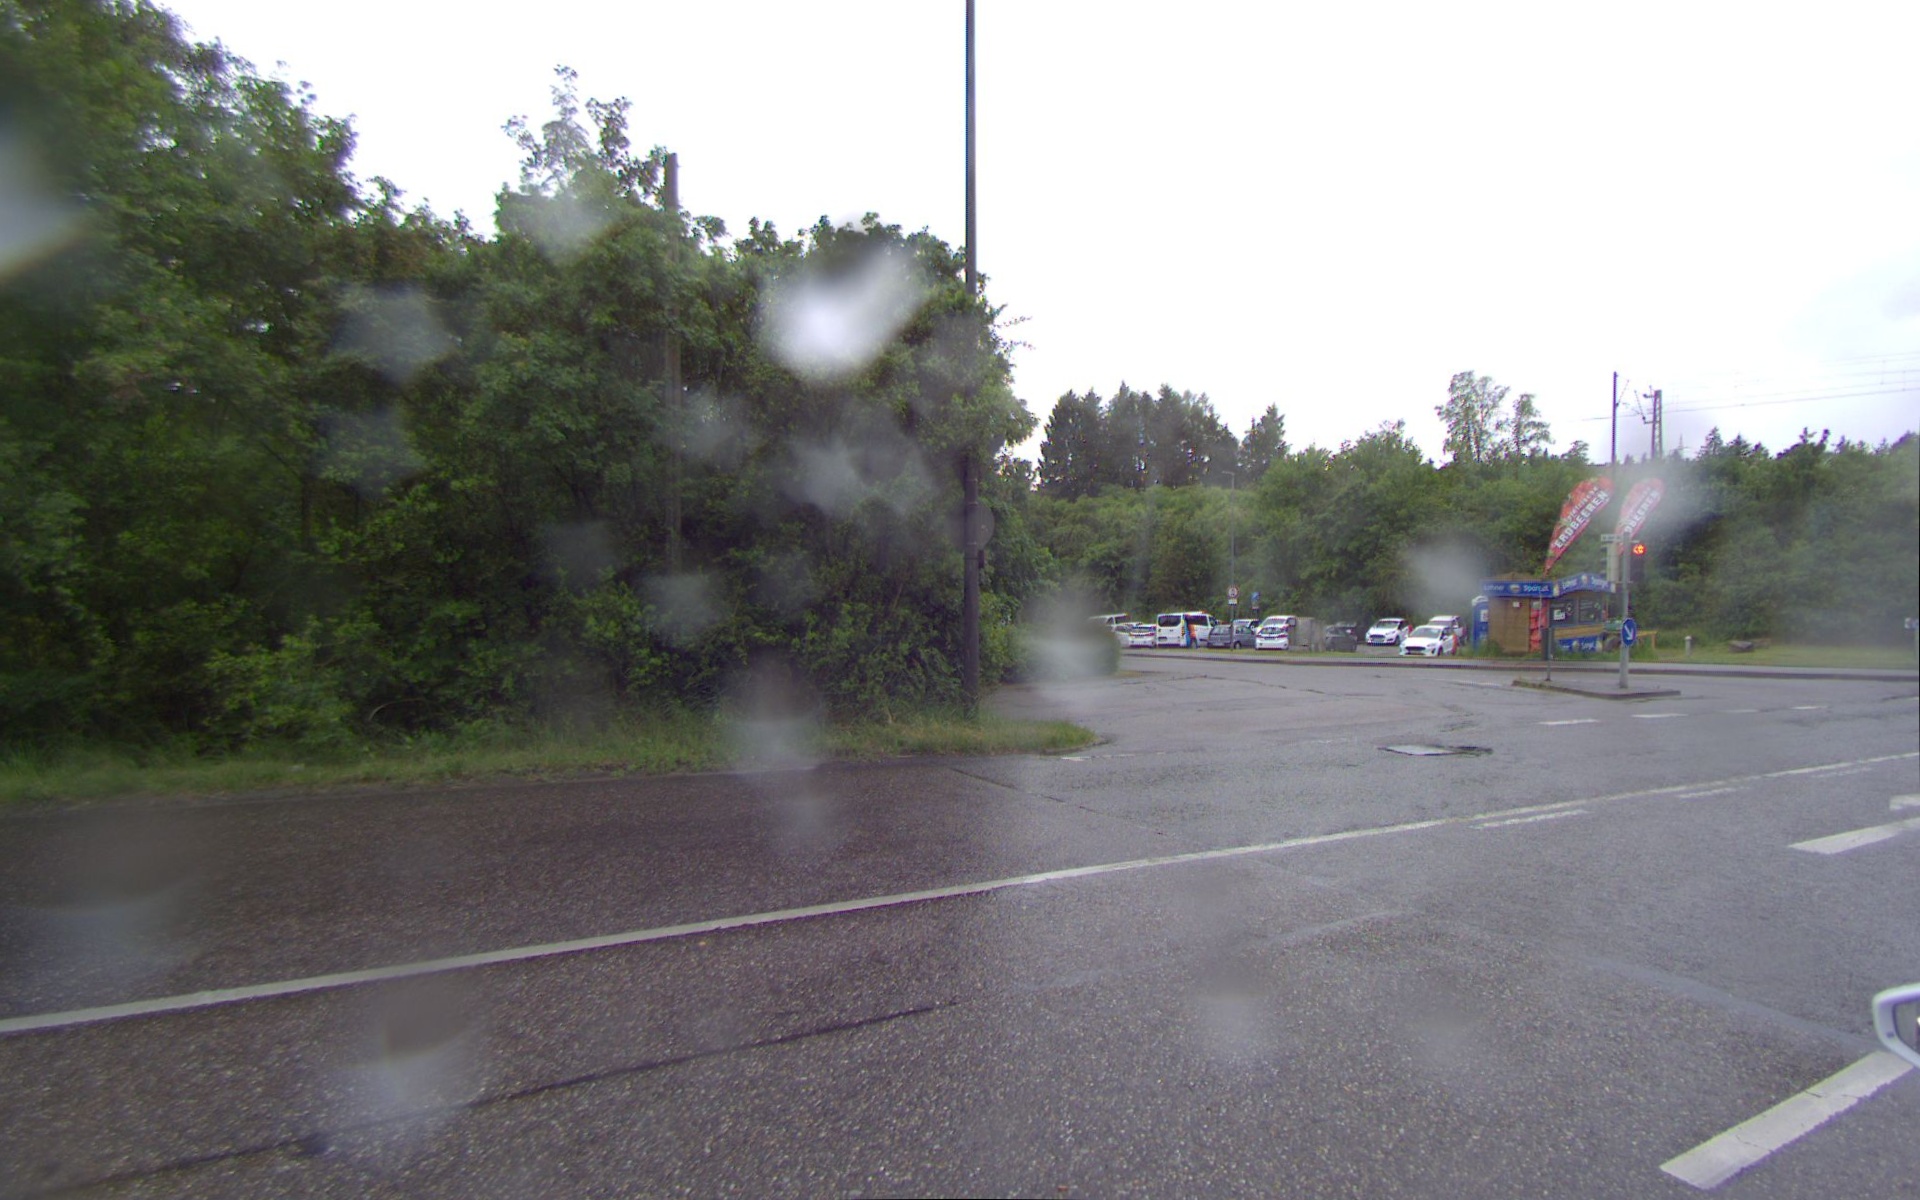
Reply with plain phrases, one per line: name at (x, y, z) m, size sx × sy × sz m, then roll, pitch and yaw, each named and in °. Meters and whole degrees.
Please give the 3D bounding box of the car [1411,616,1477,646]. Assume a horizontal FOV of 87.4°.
car at (26.366, 1.682, 54.686) m, size 3.972 × 1.606 × 1.975 m, roll 2°, pitch -2°, yaw -43°

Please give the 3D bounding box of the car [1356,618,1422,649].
car at (24.201, 1.879, 56.638) m, size 3.972 × 1.606 × 1.975 m, roll 3°, pitch -1°, yaw -43°

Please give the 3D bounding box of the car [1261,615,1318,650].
car at (20.435, 2.013, 62.223) m, size 1.916 × 2.040 × 3.846 m, roll 1°, pitch 0°, yaw 43°

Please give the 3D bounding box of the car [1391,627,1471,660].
car at (21.647, 2.005, 46.037) m, size 4.869 × 1.358 × 1.636 m, roll 3°, pitch -1°, yaw -43°

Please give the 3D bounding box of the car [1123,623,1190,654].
car at (10.905, 2.132, 55.649) m, size 1.834 × 1.606 × 3.978 m, roll 1°, pitch -1°, yaw 42°

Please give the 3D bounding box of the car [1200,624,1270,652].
car at (14.389, 1.970, 52.462) m, size 3.972 × 1.327 × 1.734 m, roll 3°, pitch -1°, yaw -43°

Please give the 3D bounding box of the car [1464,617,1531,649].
car at (28.660, 1.753, 53.501) m, size 3.972 × 1.606 × 1.975 m, roll 2°, pitch -2°, yaw -43°

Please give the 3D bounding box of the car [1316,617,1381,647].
car at (22.712, 1.857, 58.677) m, size 3.972 × 1.606 × 1.975 m, roll 3°, pitch -1°, yaw -43°

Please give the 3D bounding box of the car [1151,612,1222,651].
car at (12.130, 1.691, 53.712) m, size 1.971 × 1.974 × 3.978 m, roll 1°, pitch -1°, yaw 42°

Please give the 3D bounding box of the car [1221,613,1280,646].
car at (18.565, 1.883, 64.106) m, size 3.973 × 2.040 × 1.974 m, roll 2°, pitch -2°, yaw -44°

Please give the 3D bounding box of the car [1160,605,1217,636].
car at (15.377, 1.375, 67.429) m, size 1.972 × 2.040 × 3.976 m, roll 1°, pitch -1°, yaw 44°

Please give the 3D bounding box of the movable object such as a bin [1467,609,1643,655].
movable object such as a bin at (24.731, 1.313, 42.023) m, size 5.663 × 1.649 × 2.753 m, roll 2°, pitch -1°, yaw 10°

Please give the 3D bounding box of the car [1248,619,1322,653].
car at (16.439, 1.835, 50.763) m, size 3.880 × 1.606 × 1.918 m, roll 3°, pitch -1°, yaw -43°

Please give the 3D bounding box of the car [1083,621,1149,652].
car at (8.991, 2.110, 57.546) m, size 1.813 × 1.606 × 3.978 m, roll 1°, pitch -1°, yaw 42°
